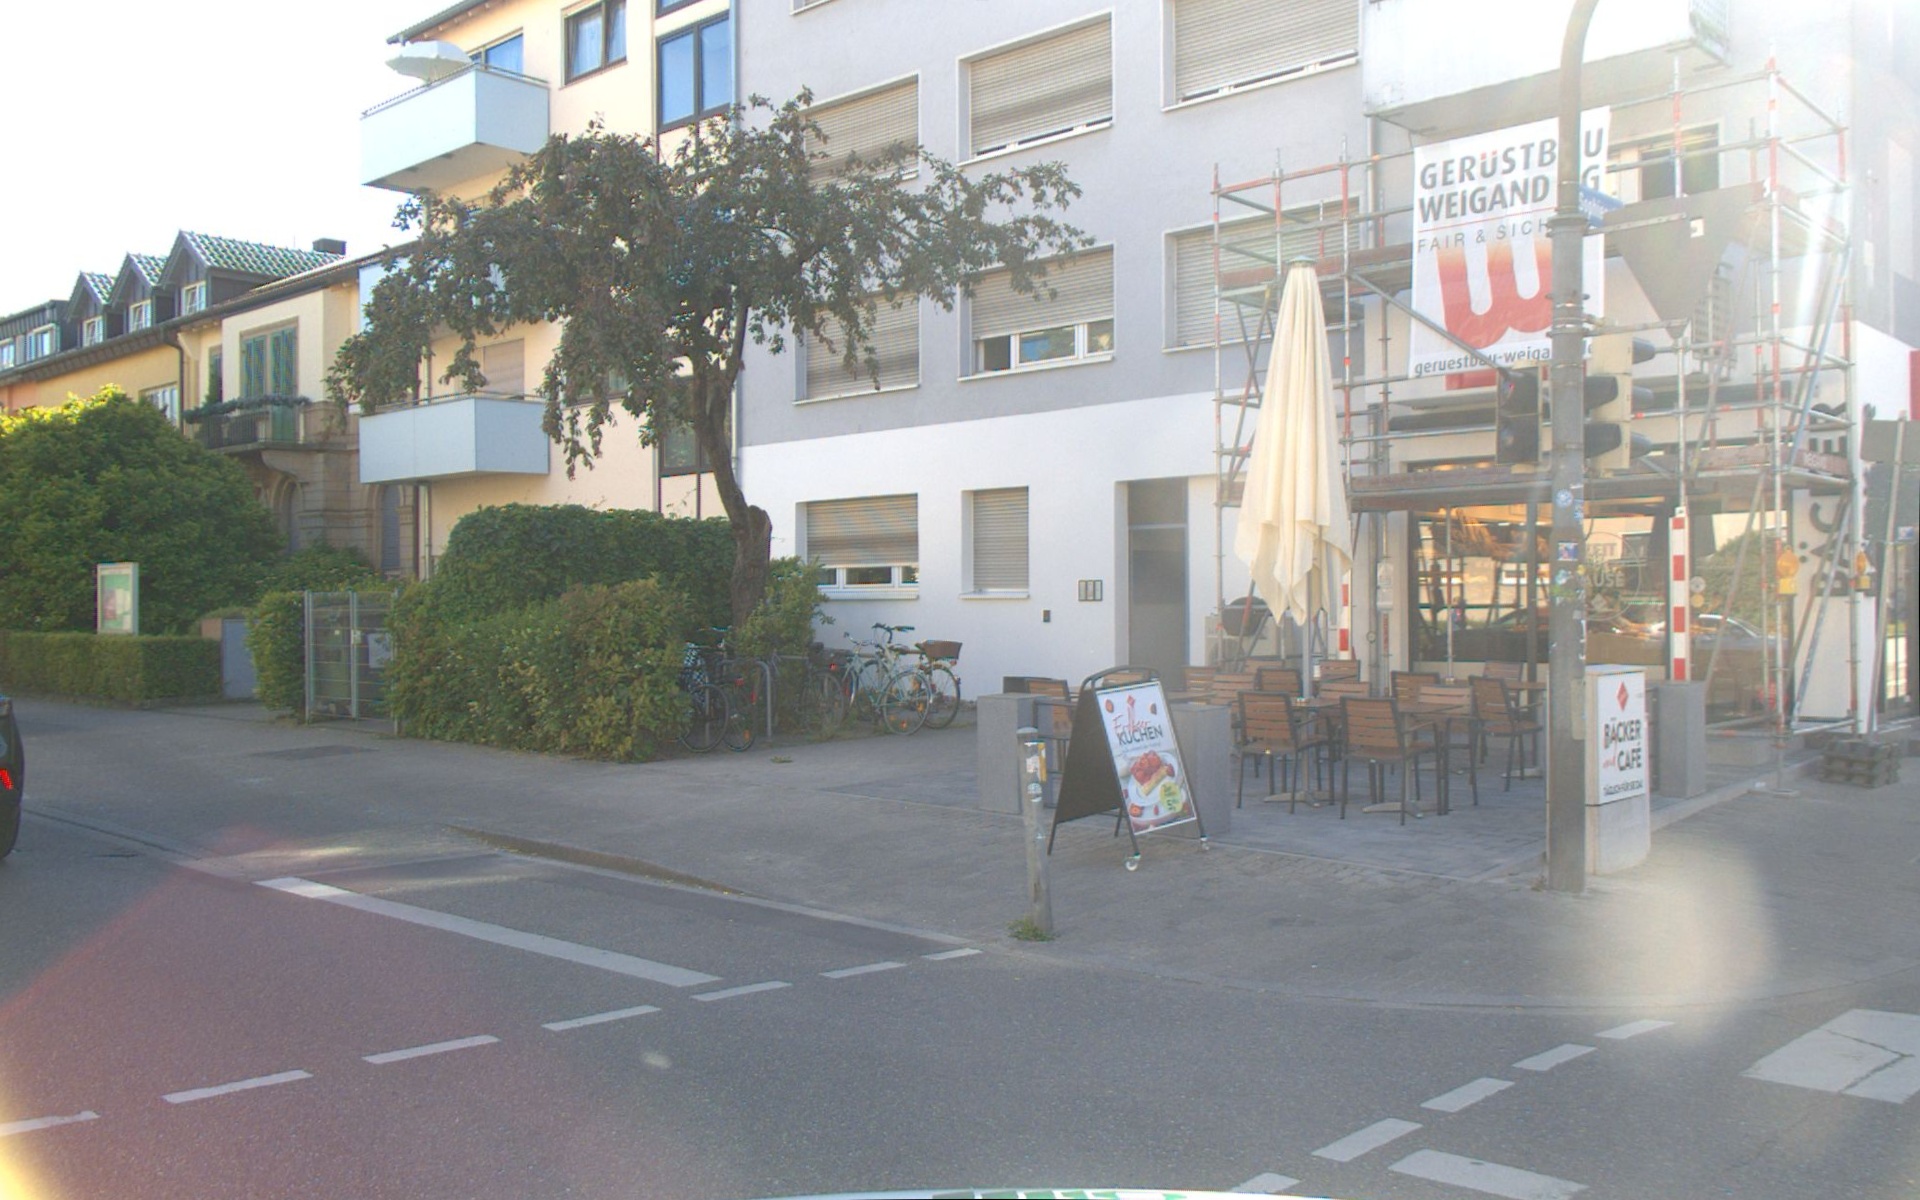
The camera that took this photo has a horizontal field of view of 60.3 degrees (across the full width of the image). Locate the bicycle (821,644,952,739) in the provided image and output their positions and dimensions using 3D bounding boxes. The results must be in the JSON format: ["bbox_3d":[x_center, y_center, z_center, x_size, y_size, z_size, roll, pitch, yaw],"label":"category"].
[{"bbox_3d":[-0.814,0.971,17.968,0.509,0.956,1.568,0,0,-44],"label":"bicycle"}]

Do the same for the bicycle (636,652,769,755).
[{"bbox_3d":[-2.591,1.012,16.542,0.509,0.956,1.568,0,0,-44],"label":"bicycle"}]

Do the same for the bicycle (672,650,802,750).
[{"bbox_3d":[-2.325,1.013,17.118,0.509,0.956,1.568,0,0,-44],"label":"bicycle"}]

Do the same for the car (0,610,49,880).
[{"bbox_3d":[-7.509,0.865,10.608,3.929,1.586,1.757,0,0,42],"label":"car"}]

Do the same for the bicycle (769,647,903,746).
[{"bbox_3d":[-1.313,0.987,17.254,0.509,0.956,1.568,0,0,-44],"label":"bicycle"}]

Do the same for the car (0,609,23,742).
[{"bbox_3d":[-13.095,0.917,20.079,3.930,1.545,1.904,-1,1,43],"label":"car"}]

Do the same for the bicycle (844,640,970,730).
[{"bbox_3d":[-0.620,0.951,18.844,0.509,0.956,1.568,0,0,-44],"label":"bicycle"}]
